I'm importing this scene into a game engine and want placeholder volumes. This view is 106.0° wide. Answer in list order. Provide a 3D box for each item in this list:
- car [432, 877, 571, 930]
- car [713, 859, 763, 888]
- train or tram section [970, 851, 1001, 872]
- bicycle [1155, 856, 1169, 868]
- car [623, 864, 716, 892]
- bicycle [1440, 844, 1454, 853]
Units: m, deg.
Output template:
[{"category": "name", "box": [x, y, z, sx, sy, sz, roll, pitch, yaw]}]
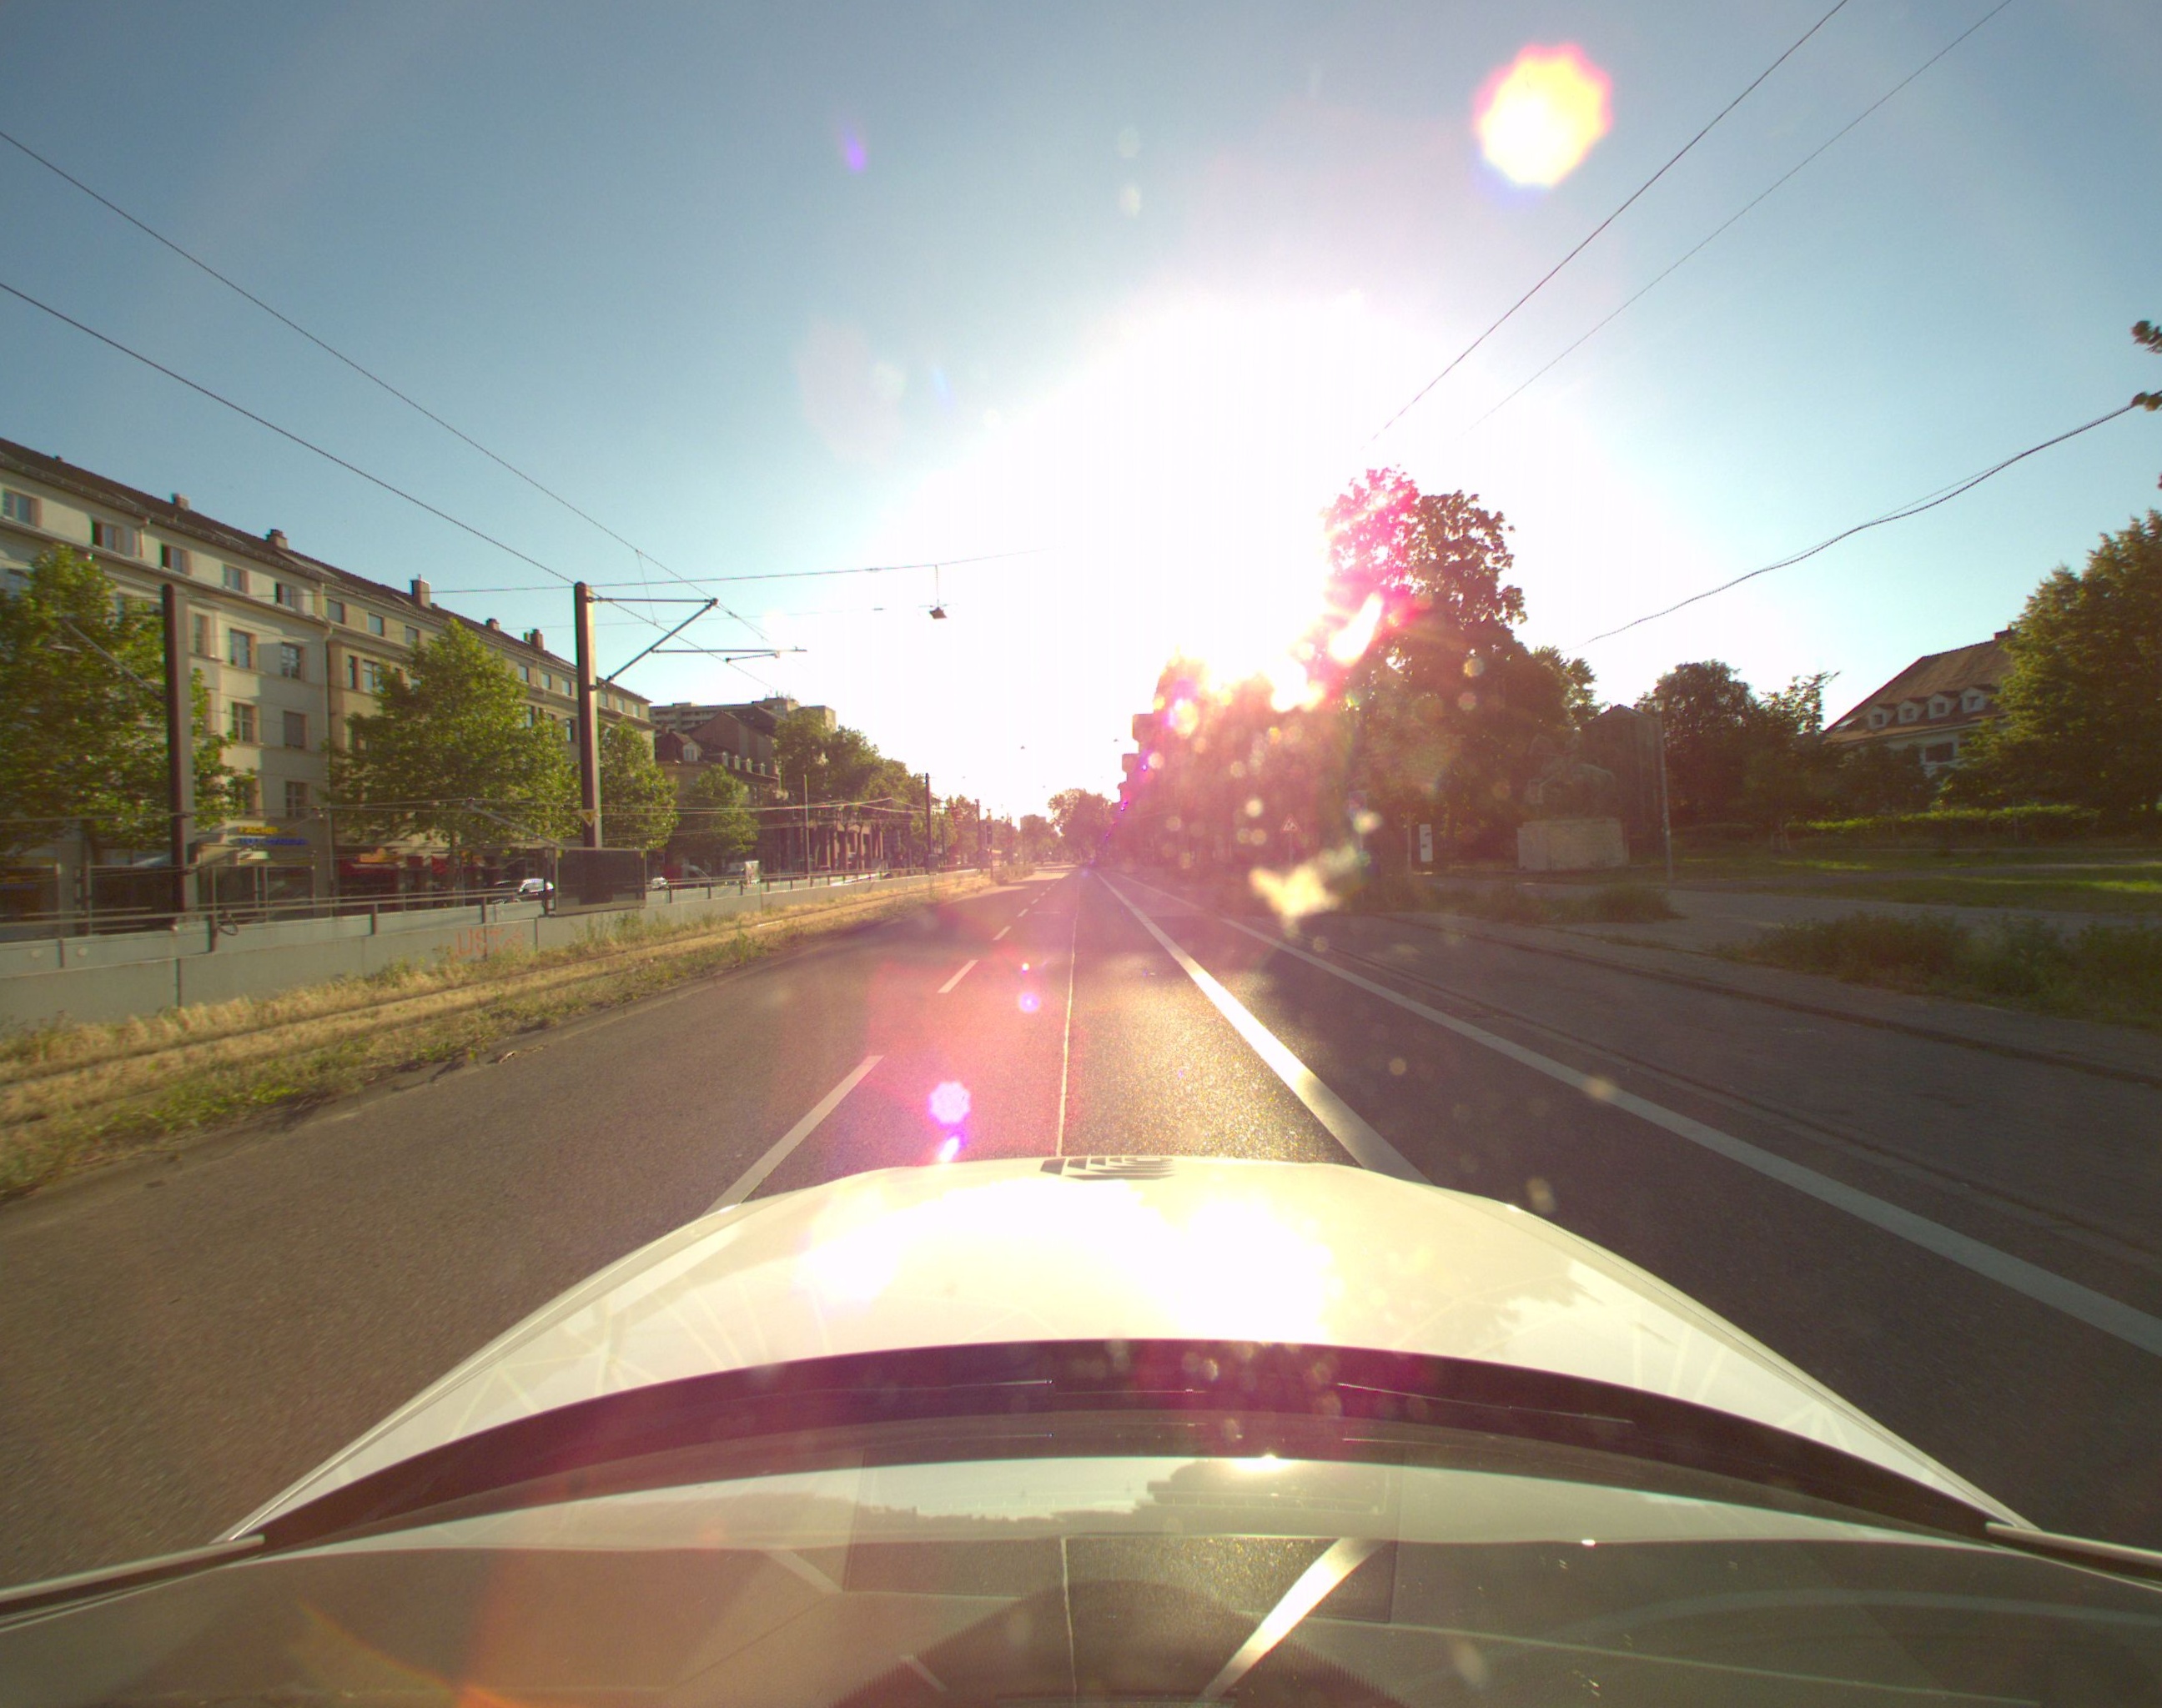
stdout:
[{"category": "car", "box": [-23.881, 1.988, 33.857, 1.985, 1.819, 4.982, -3, 0, 3]}, {"category": "car", "box": [-27.497, 1.501, 65.515, 1.946, 2.134, 4.573, -3, 0, 0]}, {"category": "train or tram section", "box": [-17.571, 1.311, 151.608, 3.100, 3.559, 17.483, -3, 0, 2]}, {"category": "bicycle", "box": [9.045, 0.885, 91.173, 0.859, 1.196, 2.252, -3, -1, 23]}, {"category": "car", "box": [-38.375, 2.213, 76.186, 7.256, 2.266, 2.466, -3, -1, -5]}, {"category": "bicycle", "box": [49.356, -0.754, 109.849, 1.990, 1.101, 0.846, -2, 1, -34]}]
